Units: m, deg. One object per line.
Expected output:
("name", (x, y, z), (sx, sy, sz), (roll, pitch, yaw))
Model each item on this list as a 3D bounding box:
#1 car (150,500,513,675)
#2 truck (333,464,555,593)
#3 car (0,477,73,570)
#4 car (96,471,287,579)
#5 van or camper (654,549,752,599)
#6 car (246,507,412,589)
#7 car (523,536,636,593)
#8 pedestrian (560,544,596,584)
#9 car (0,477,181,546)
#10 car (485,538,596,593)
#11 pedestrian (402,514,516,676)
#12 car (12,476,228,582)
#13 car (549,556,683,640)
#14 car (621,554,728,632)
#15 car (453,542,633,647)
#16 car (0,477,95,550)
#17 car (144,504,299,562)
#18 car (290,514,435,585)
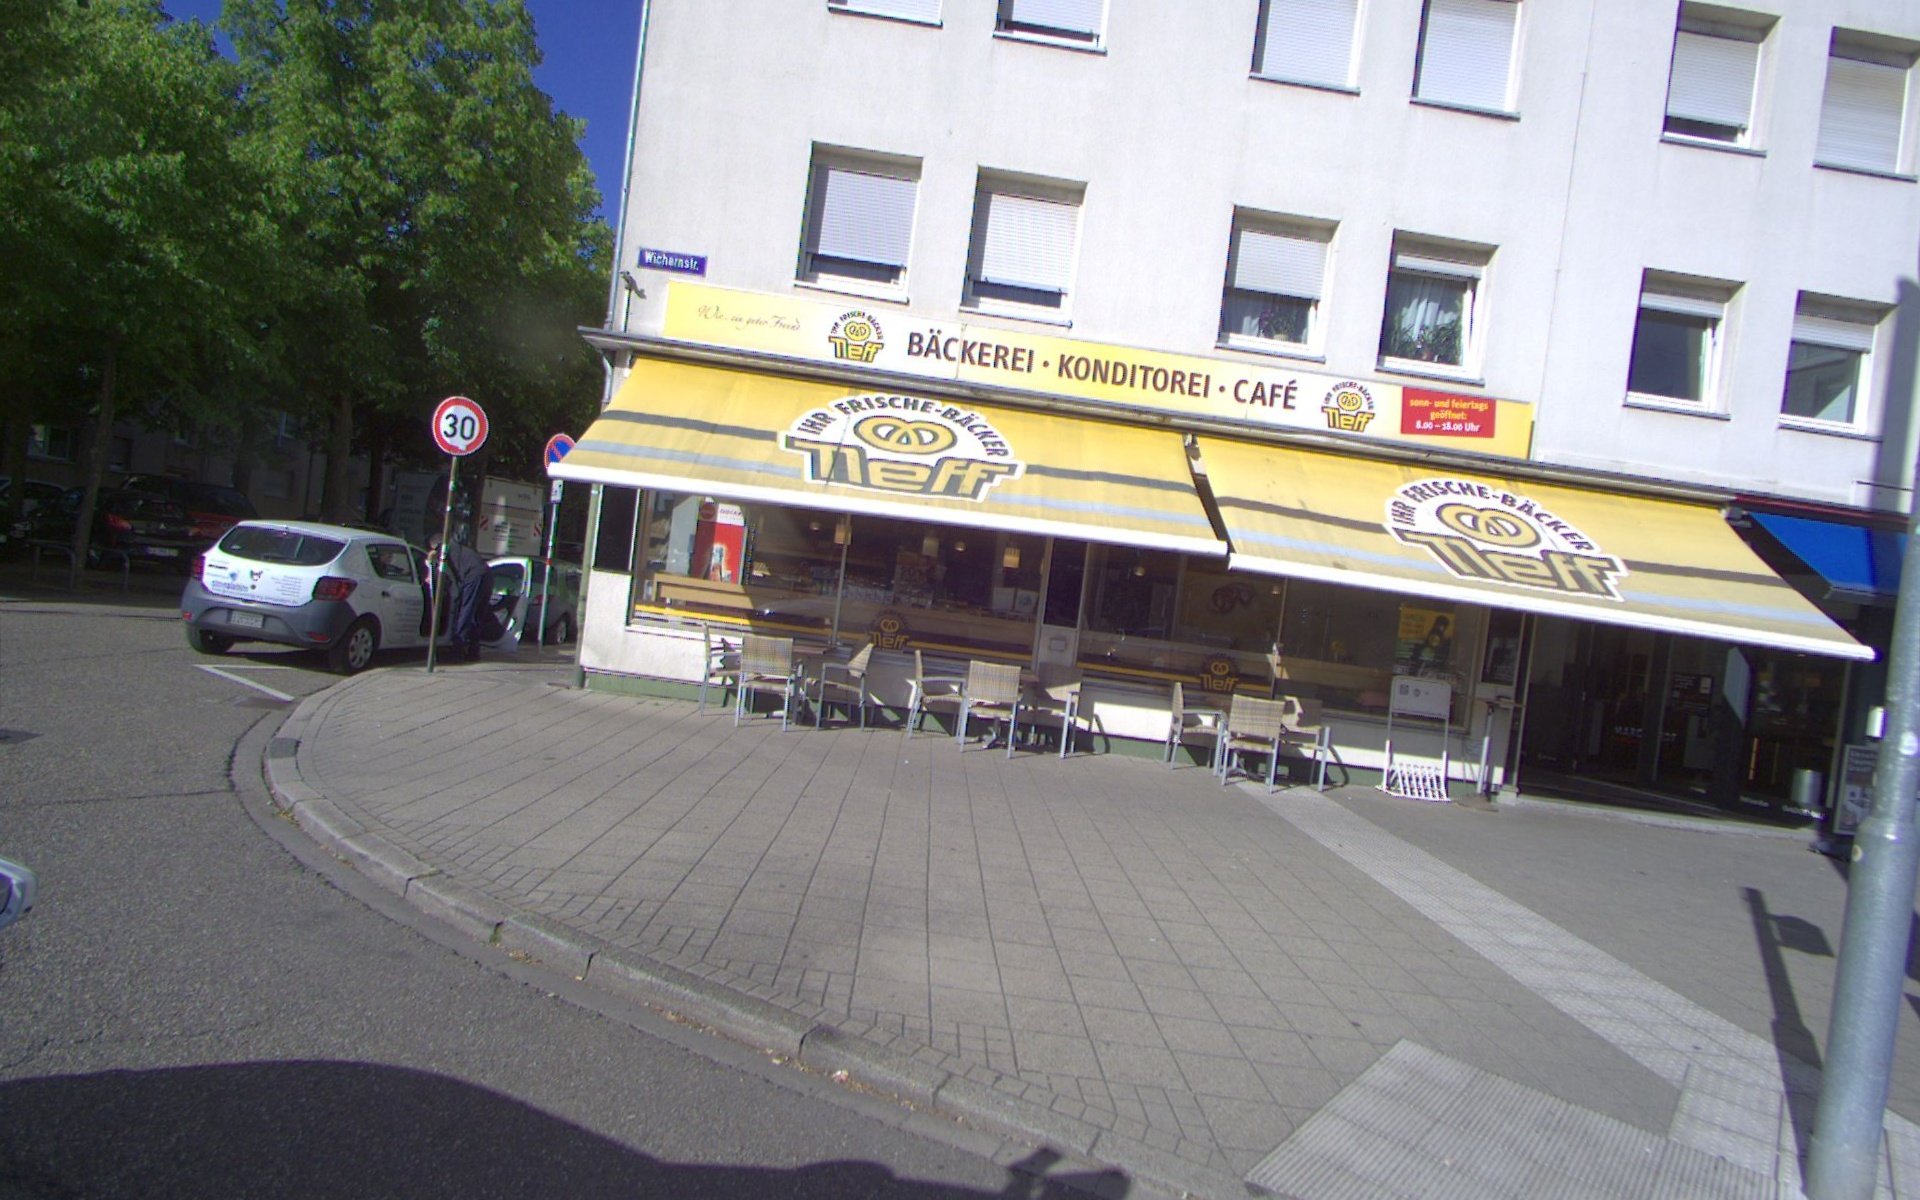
("car", (-7.112, -0.115, 11.967), (1.693, 1.516, 4.022), (7, 0, -1))
("truck", (-16.555, -2.322, 32.147), (7.200, 3.335, 2.542), (7, 1, 30))
("car", (-17.382, -1.513, 17.125), (3.877, 1.439, 1.821), (8, 0, 22))
("car", (-17.639, -1.738, 23.041), (4.428, 1.896, 1.932), (8, 0, 32))
("van or camper", (-19.508, -1.994, 76.321), (7.120, 2.966, 2.312), (7, 1, 25))
("car", (-16.143, -1.348, 25.676), (4.272, 1.525, 1.810), (8, 0, 32))
("car", (-17.261, -1.610, 45.649), (4.441, 1.887, 2.080), (8, 0, 23))
("pedestrian", (-15.111, -1.419, 39.808), (0.740, 1.414, 0.927), (8, 1, 30))
("car", (-26.036, -2.593, 30.277), (1.737, 1.452, 4.342), (8, 0, -1))
("car", (-16.091, -1.318, 38.553), (4.038, 1.524, 1.731), (8, 0, 30))
("pedestrian", (-5.809, -0.055, 11.707), (0.747, 1.744, 0.745), (7, 1, 4))
("car", (-16.127, -1.361, 19.307), (3.756, 1.499, 1.760), (7, 0, 27))
("car", (-7.601, -0.046, 22.682), (1.776, 1.481, 4.435), (7, 0, -6))
("car", (-7.809, -0.184, 27.936), (1.736, 1.774, 4.507), (7, 0, -4))
("car", (-7.263, -0.070, 17.920), (1.572, 1.481, 3.671), (7, 0, -1))
("car", (-22.466, -2.111, 23.280), (1.730, 1.504, 3.943), (7, 0, -8))
("car", (-22.624, -2.004, 31.069), (1.738, 1.310, 4.410), (6, 0, -5))
("car", (-17.569, -1.502, 29.553), (4.272, 1.525, 1.810), (8, 0, 32))
